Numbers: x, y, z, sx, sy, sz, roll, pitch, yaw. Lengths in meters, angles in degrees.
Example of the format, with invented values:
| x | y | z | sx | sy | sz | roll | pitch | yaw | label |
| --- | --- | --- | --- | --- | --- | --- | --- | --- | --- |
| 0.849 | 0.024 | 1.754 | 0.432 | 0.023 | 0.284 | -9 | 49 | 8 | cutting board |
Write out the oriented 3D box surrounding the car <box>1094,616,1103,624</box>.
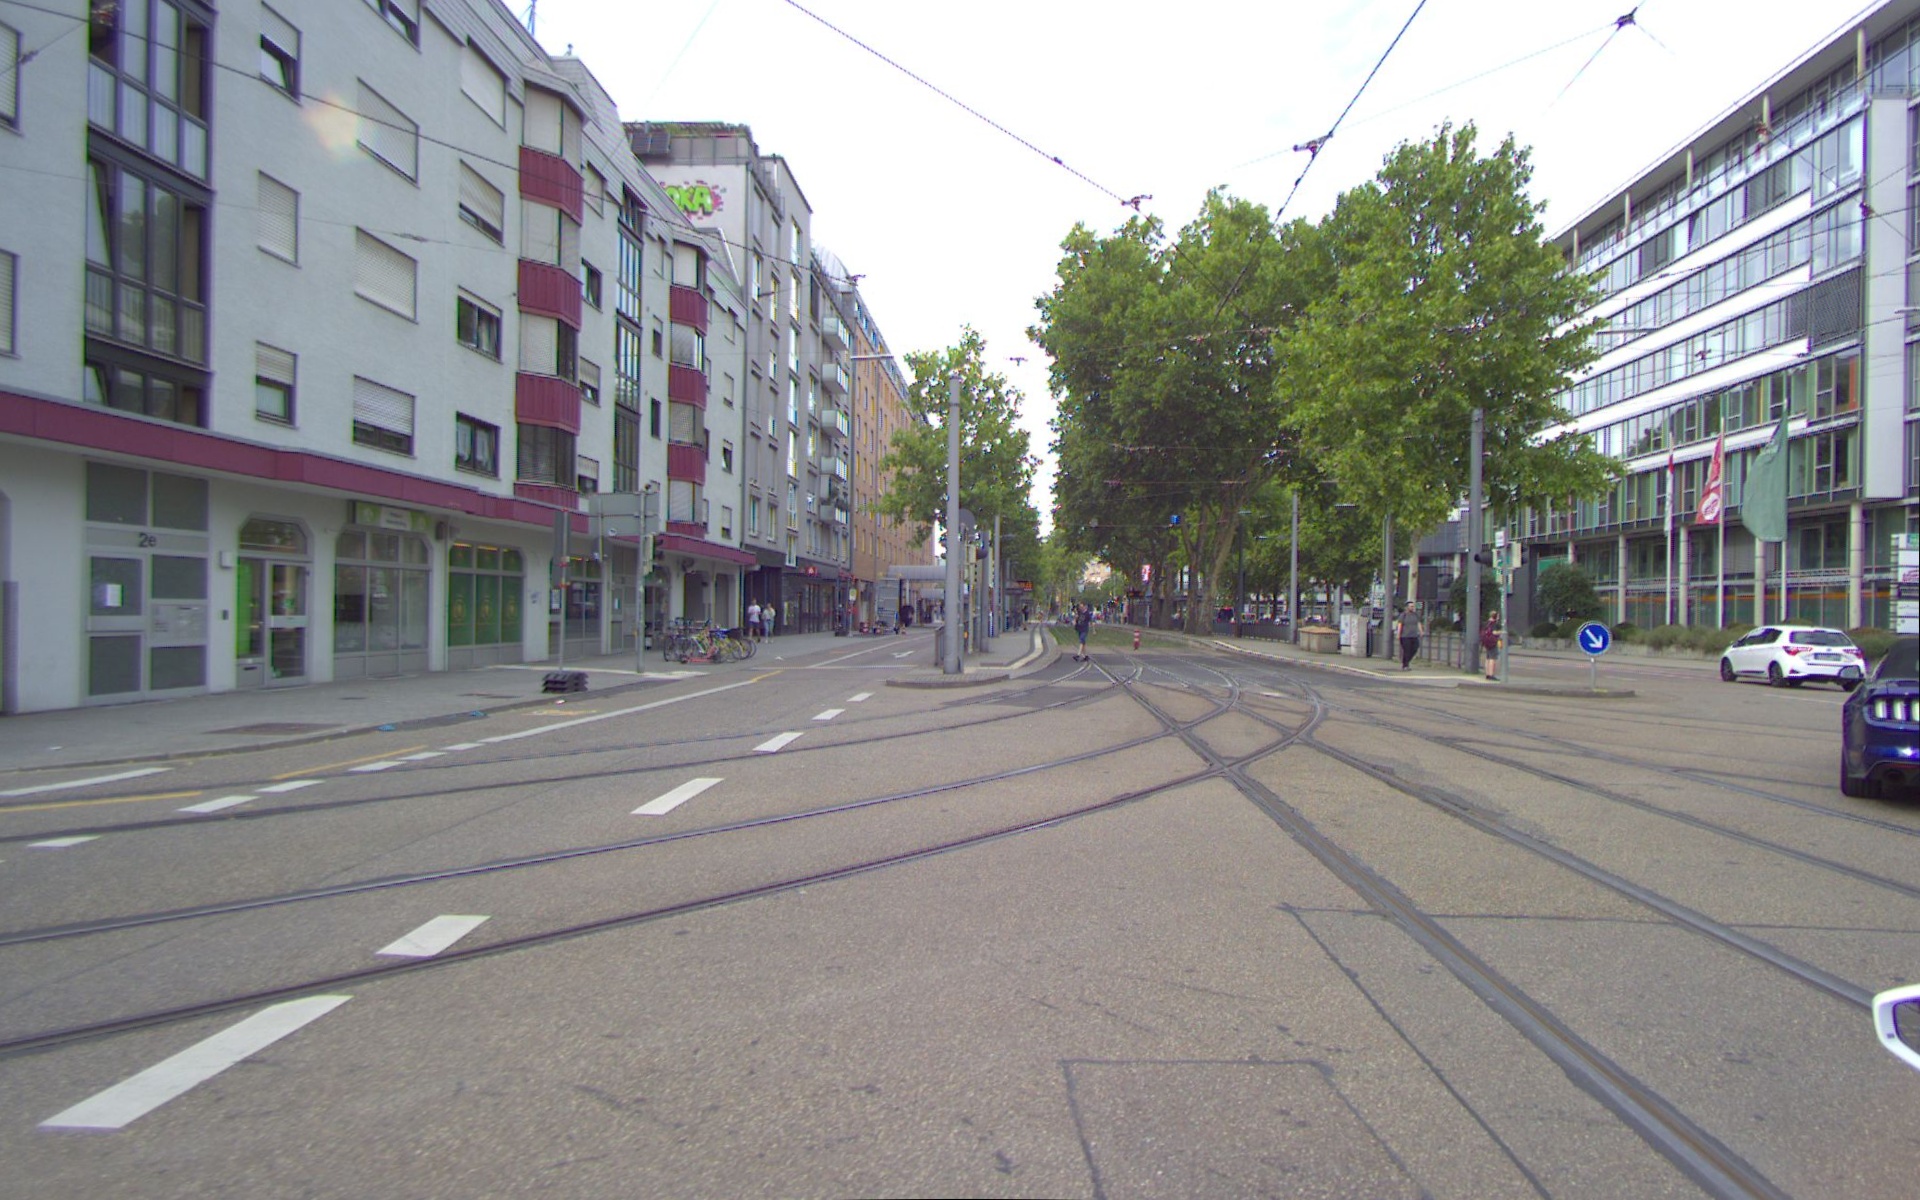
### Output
| x | y | z | sx | sy | sz | roll | pitch | yaw | label |
| --- | --- | --- | --- | --- | --- | --- | --- | --- | --- |
| 29.704 | 4.318 | 216.038 | 1.804 | 1.541 | 4.178 | 1 | -1 | 6 | car |

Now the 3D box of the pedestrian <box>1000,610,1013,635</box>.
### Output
| x | y | z | sx | sy | sz | roll | pitch | yaw | label |
| --- | --- | --- | --- | --- | --- | --- | --- | --- | --- |
| 2.916 | 1.402 | 63.375 | 0.801 | 1.557 | 0.785 | 1 | -1 | 1 | pedestrian |

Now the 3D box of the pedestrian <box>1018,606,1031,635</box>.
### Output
| x | y | z | sx | sy | sz | roll | pitch | yaw | label |
| --- | --- | --- | --- | --- | --- | --- | --- | --- | --- |
| 4.262 | 1.360 | 66.813 | 0.801 | 1.912 | 0.785 | 1 | -1 | 1 | pedestrian |

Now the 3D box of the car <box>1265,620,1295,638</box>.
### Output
| x | y | z | sx | sy | sz | roll | pitch | yaw | label |
| --- | --- | --- | --- | --- | --- | --- | --- | --- | --- |
| 31.343 | 2.852 | 98.471 | 1.848 | 1.603 | 4.327 | 1 | -1 | 4 | car |

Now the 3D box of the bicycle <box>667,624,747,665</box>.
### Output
| x | y | z | sx | sy | sz | roll | pitch | yaw | label |
| --- | --- | --- | --- | --- | --- | --- | --- | --- | --- |
| -7.427 | 1.299 | 29.533 | 2.138 | 1.031 | 0.628 | 4 | -1 | 5 | bicycle |

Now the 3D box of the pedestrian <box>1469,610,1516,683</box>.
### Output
| x | y | z | sx | sy | sz | roll | pitch | yaw | label |
| --- | --- | --- | --- | --- | --- | --- | --- | --- | --- |
| 12.643 | 1.096 | 23.871 | 0.750 | 1.693 | 0.939 | 1 | -1 | 11 | pedestrian |

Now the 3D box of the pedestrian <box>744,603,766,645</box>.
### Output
| x | y | z | sx | sy | sz | roll | pitch | yaw | label |
| --- | --- | --- | --- | --- | --- | --- | --- | --- | --- |
| -8.830 | 1.031 | 43.267 | 0.745 | 1.799 | 0.897 | 1 | 0 | 1 | pedestrian |

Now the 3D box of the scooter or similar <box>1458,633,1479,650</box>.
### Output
| x | y | z | sx | sy | sz | roll | pitch | yaw | label |
| --- | --- | --- | --- | --- | --- | --- | --- | --- | --- |
| 30.021 | 2.444 | 59.301 | 0.577 | 0.963 | 1.861 | 1 | -1 | 10 | scooter or similar |

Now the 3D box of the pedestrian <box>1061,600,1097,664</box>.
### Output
| x | y | z | sx | sy | sz | roll | pitch | yaw | label |
| --- | --- | --- | --- | --- | --- | --- | --- | --- | --- |
| 3.634 | 0.968 | 30.661 | 0.983 | 1.924 | 0.805 | 1 | -1 | 15 | pedestrian |

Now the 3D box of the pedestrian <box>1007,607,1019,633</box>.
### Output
| x | y | z | sx | sy | sz | roll | pitch | yaw | label |
| --- | --- | --- | --- | --- | --- | --- | --- | --- | --- |
| 3.876 | 1.487 | 73.633 | 0.801 | 1.912 | 0.785 | 1 | -1 | 1 | pedestrian |

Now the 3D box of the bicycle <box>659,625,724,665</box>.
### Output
| x | y | z | sx | sy | sz | roll | pitch | yaw | label |
| --- | --- | --- | --- | --- | --- | --- | --- | --- | --- |
| -7.722 | 1.278 | 28.921 | 1.698 | 1.031 | 0.479 | 4 | -1 | -2 | bicycle |

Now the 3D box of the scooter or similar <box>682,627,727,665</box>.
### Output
| x | y | z | sx | sy | sz | roll | pitch | yaw | label |
| --- | --- | --- | --- | --- | --- | --- | --- | --- | --- |
| -7.195 | 1.308 | 28.318 | 1.157 | 1.001 | 0.349 | 4 | -2 | -19 | scooter or similar |

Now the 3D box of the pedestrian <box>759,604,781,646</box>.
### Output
| x | y | z | sx | sy | sz | roll | pitch | yaw | label |
| --- | --- | --- | --- | --- | --- | --- | --- | --- | --- |
| -8.219 | 1.075 | 43.393 | 0.745 | 1.758 | 0.897 | 1 | 0 | 1 | pedestrian |

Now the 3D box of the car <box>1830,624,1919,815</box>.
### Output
| x | y | z | sx | sy | sz | roll | pitch | yaw | label |
| --- | --- | --- | --- | --- | --- | --- | --- | --- | --- |
| 9.016 | 0.944 | 8.825 | 1.856 | 1.423 | 4.256 | 1 | 0 | 44 | car |

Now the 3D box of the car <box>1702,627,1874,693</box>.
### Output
| x | y | z | sx | sy | sz | roll | pitch | yaw | label |
| --- | --- | --- | --- | --- | --- | --- | --- | --- | --- |
| 20.646 | 1.430 | 25.278 | 1.804 | 1.458 | 4.189 | 1 | -1 | 16 | car |

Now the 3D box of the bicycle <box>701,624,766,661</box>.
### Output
| x | y | z | sx | sy | sz | roll | pitch | yaw | label |
| --- | --- | --- | --- | --- | --- | --- | --- | --- | --- |
| -7.134 | 1.335 | 31.654 | 1.848 | 1.031 | 0.710 | 4 | -1 | -2 | bicycle |

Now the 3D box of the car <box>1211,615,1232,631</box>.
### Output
| x | y | z | sx | sy | sz | roll | pitch | yaw | label |
| --- | --- | --- | --- | --- | --- | --- | --- | --- | --- |
| 31.430 | 2.786 | 120.977 | 1.804 | 1.928 | 4.178 | 1 | -1 | 6 | car |

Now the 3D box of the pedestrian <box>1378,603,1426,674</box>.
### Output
| x | y | z | sx | sy | sz | roll | pitch | yaw | label |
| --- | --- | --- | --- | --- | --- | --- | --- | --- | --- |
| 11.897 | 1.028 | 27.031 | 0.828 | 1.880 | 0.841 | 1 | -1 | -21 | pedestrian |

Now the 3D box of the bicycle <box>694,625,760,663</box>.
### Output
| x | y | z | sx | sy | sz | roll | pitch | yaw | label |
| --- | --- | --- | --- | --- | --- | --- | --- | --- | --- |
| -7.165 | 1.338 | 30.936 | 1.848 | 1.031 | 0.627 | 4 | -1 | -3 | bicycle |

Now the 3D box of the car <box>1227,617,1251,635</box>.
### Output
| x | y | z | sx | sy | sz | roll | pitch | yaw | label |
| --- | --- | --- | --- | --- | --- | --- | --- | --- | --- |
| 30.076 | 2.809 | 108.349 | 1.858 | 1.928 | 4.132 | 1 | -1 | 6 | car |
